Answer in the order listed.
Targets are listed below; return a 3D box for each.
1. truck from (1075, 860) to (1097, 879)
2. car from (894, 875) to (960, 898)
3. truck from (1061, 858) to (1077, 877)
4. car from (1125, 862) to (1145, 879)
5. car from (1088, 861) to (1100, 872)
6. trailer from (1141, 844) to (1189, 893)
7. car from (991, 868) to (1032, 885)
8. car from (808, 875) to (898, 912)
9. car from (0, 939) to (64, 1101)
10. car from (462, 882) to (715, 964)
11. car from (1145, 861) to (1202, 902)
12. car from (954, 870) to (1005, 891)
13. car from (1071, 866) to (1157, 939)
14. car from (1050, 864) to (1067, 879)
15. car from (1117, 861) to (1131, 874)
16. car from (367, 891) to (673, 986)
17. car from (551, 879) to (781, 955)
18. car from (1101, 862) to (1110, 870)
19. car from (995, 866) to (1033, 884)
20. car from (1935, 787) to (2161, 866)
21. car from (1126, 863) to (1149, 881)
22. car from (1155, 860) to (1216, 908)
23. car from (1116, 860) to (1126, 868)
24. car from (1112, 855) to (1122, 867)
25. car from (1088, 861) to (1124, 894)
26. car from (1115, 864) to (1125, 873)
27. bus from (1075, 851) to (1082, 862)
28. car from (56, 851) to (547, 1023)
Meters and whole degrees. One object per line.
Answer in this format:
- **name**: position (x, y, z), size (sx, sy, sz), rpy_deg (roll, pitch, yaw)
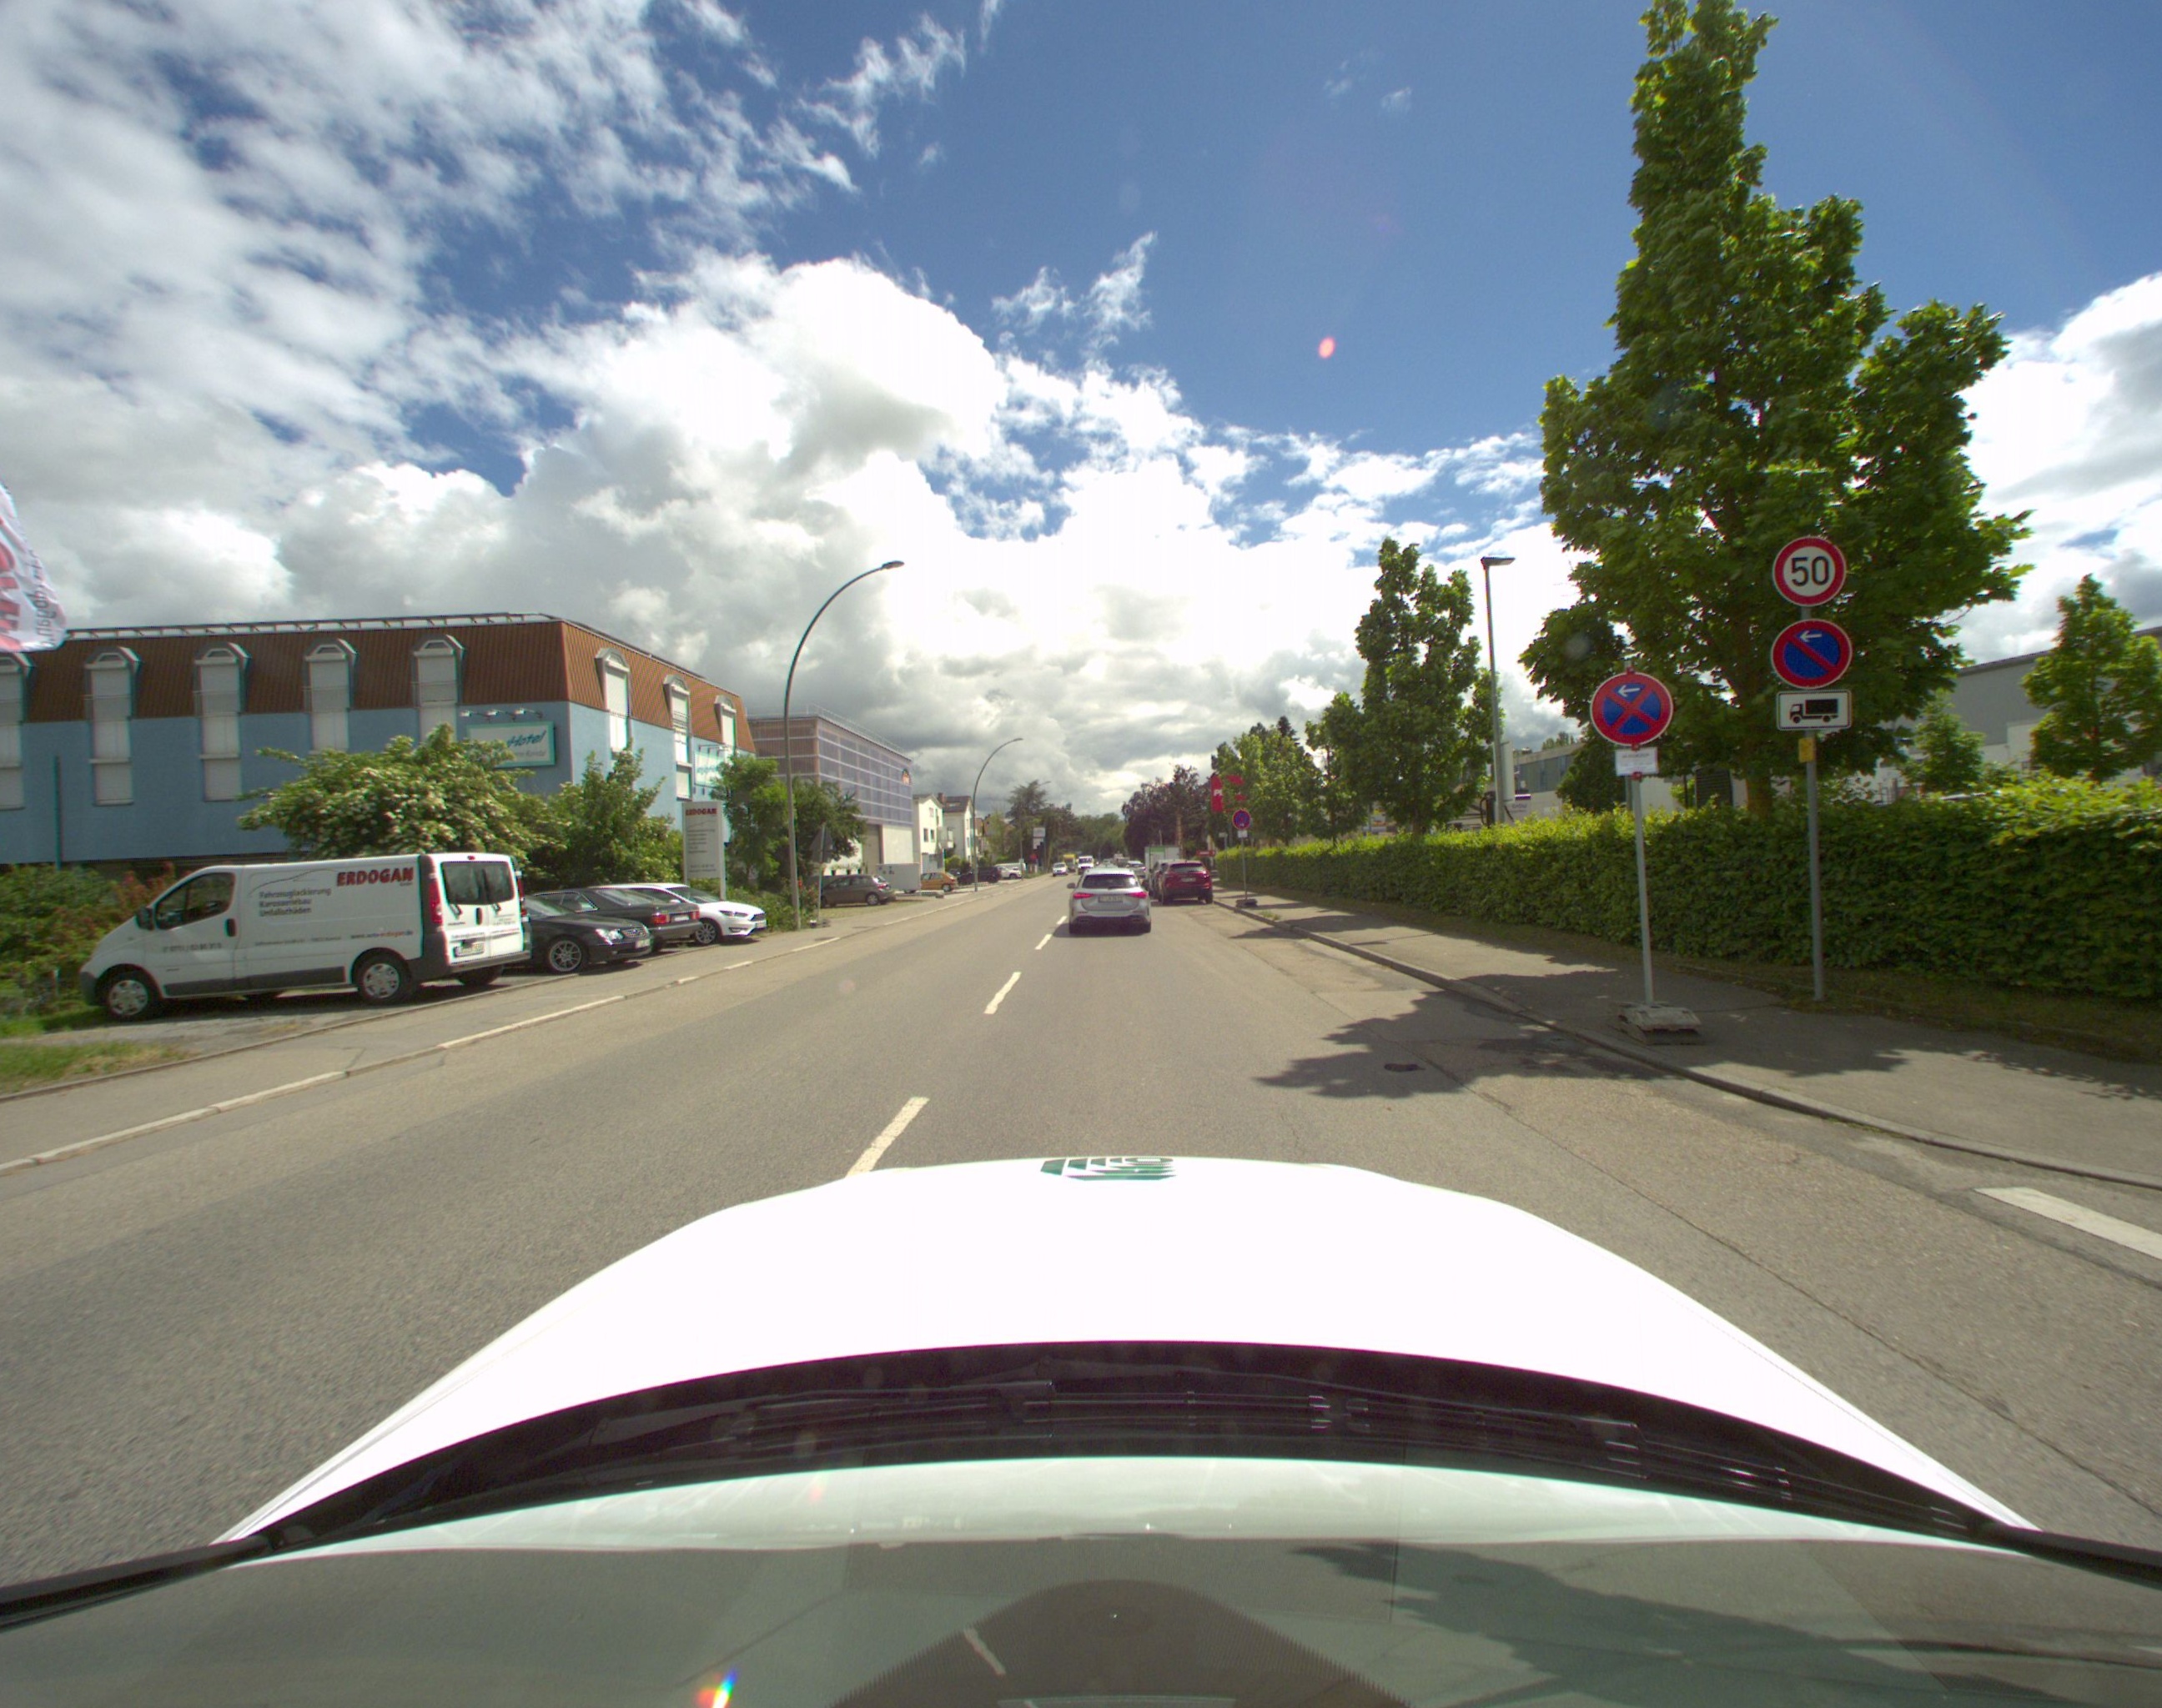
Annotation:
- **truck**: position (0.678, 1.898, 103.471), size (2.309, 2.178, 6.455), rpy_deg (-3, 0, 4)
- **car**: position (-10.405, 2.171, 55.274), size (4.139, 1.492, 1.824), rpy_deg (0, 0, -2)
- **truck**: position (-1.976, 2.193, 135.164), size (2.066, 2.814, 7.083), rpy_deg (-3, 0, 3)
- **car**: position (5.478, 1.665, 83.415), size (1.785, 1.552, 4.574), rpy_deg (-3, 0, 1)
- **car**: position (2.389, 2.342, 152.062), size (1.985, 1.733, 4.552), rpy_deg (-3, 0, 3)
- **trailer**: position (4.273, 0.717, 41.885), size (1.935, 2.294, 4.445), rpy_deg (-3, -1, 0)
- **car**: position (-7.789, 2.529, 91.023), size (4.263, 1.567, 1.991), rpy_deg (-3, -4, 1)
- **car**: position (-10.780, 1.867, 38.663), size (3.612, 1.533, 1.981), rpy_deg (-2, 0, 3)
- **car**: position (-10.292, 1.296, 5.684), size (3.974, 1.204, 1.871), rpy_deg (0, 0, 0)
- **car**: position (-9.892, 1.353, 16.557), size (3.969, 1.355, 1.873), rpy_deg (-2, 0, 3)
- **car**: position (4.014, 1.156, 35.907), size (1.935, 1.571, 4.444), rpy_deg (-3, 0, 0)
- **car**: position (-9.964, 2.598, 80.087), size (4.615, 1.632, 2.196), rpy_deg (-5, 0, -2)
- **car**: position (0.682, 1.056, 19.224), size (1.779, 1.484, 4.315), rpy_deg (-1, -1, 0)
- **car**: position (-2.815, 2.165, 101.366), size (1.785, 1.603, 4.365), rpy_deg (-3, 0, 1)
- **car**: position (7.152, 2.307, 136.534), size (2.136, 1.984, 5.263), rpy_deg (-3, 0, 2)
- **car**: position (-9.592, 1.417, 14.175), size (3.974, 1.315, 1.871), rpy_deg (-2, -1, 0)
- **car**: position (-9.581, 1.431, 19.026), size (4.358, 1.478, 1.872), rpy_deg (-2, -2, 1)
- **car**: position (5.190, 2.481, 170.028), size (1.749, 1.558, 4.001), rpy_deg (-2, 0, 1)
- **car**: position (-7.859, 2.530, 96.237), size (4.265, 1.836, 1.991), rpy_deg (-3, -4, 0)
- **car**: position (22.373, -0.592, 18.476), size (3.975, 1.706, 1.999), rpy_deg (0, 0, -1)
- **car**: position (5.346, 1.692, 77.648), size (1.786, 1.450, 4.362), rpy_deg (-3, 0, -1)
- **car**: position (3.872, 1.076, 30.792), size (1.933, 1.571, 4.450), rpy_deg (-3, 0, 4)
- **car**: position (7.605, 2.006, 155.595), size (1.779, 1.484, 4.315), rpy_deg (-1, -1, 0)
- **car**: position (7.707, 1.467, 173.950), size (1.779, 2.518, 4.315), rpy_deg (-1, -1, 0)
- **car**: position (1.272, 1.210, 42.815), size (1.749, 1.558, 4.001), rpy_deg (-2, 0, 1)
- **car**: position (7.702, 2.839, 161.775), size (1.779, 1.715, 4.315), rpy_deg (-1, -1, 0)
- **bus**: position (-0.879, 0.824, 261.440), size (1.989, 3.364, 6.973), rpy_deg (0, 0, -3)
- **car**: position (-10.560, 1.042, 11.396), size (4.639, 1.972, 2.114), rpy_deg (-2, 0, -2)
